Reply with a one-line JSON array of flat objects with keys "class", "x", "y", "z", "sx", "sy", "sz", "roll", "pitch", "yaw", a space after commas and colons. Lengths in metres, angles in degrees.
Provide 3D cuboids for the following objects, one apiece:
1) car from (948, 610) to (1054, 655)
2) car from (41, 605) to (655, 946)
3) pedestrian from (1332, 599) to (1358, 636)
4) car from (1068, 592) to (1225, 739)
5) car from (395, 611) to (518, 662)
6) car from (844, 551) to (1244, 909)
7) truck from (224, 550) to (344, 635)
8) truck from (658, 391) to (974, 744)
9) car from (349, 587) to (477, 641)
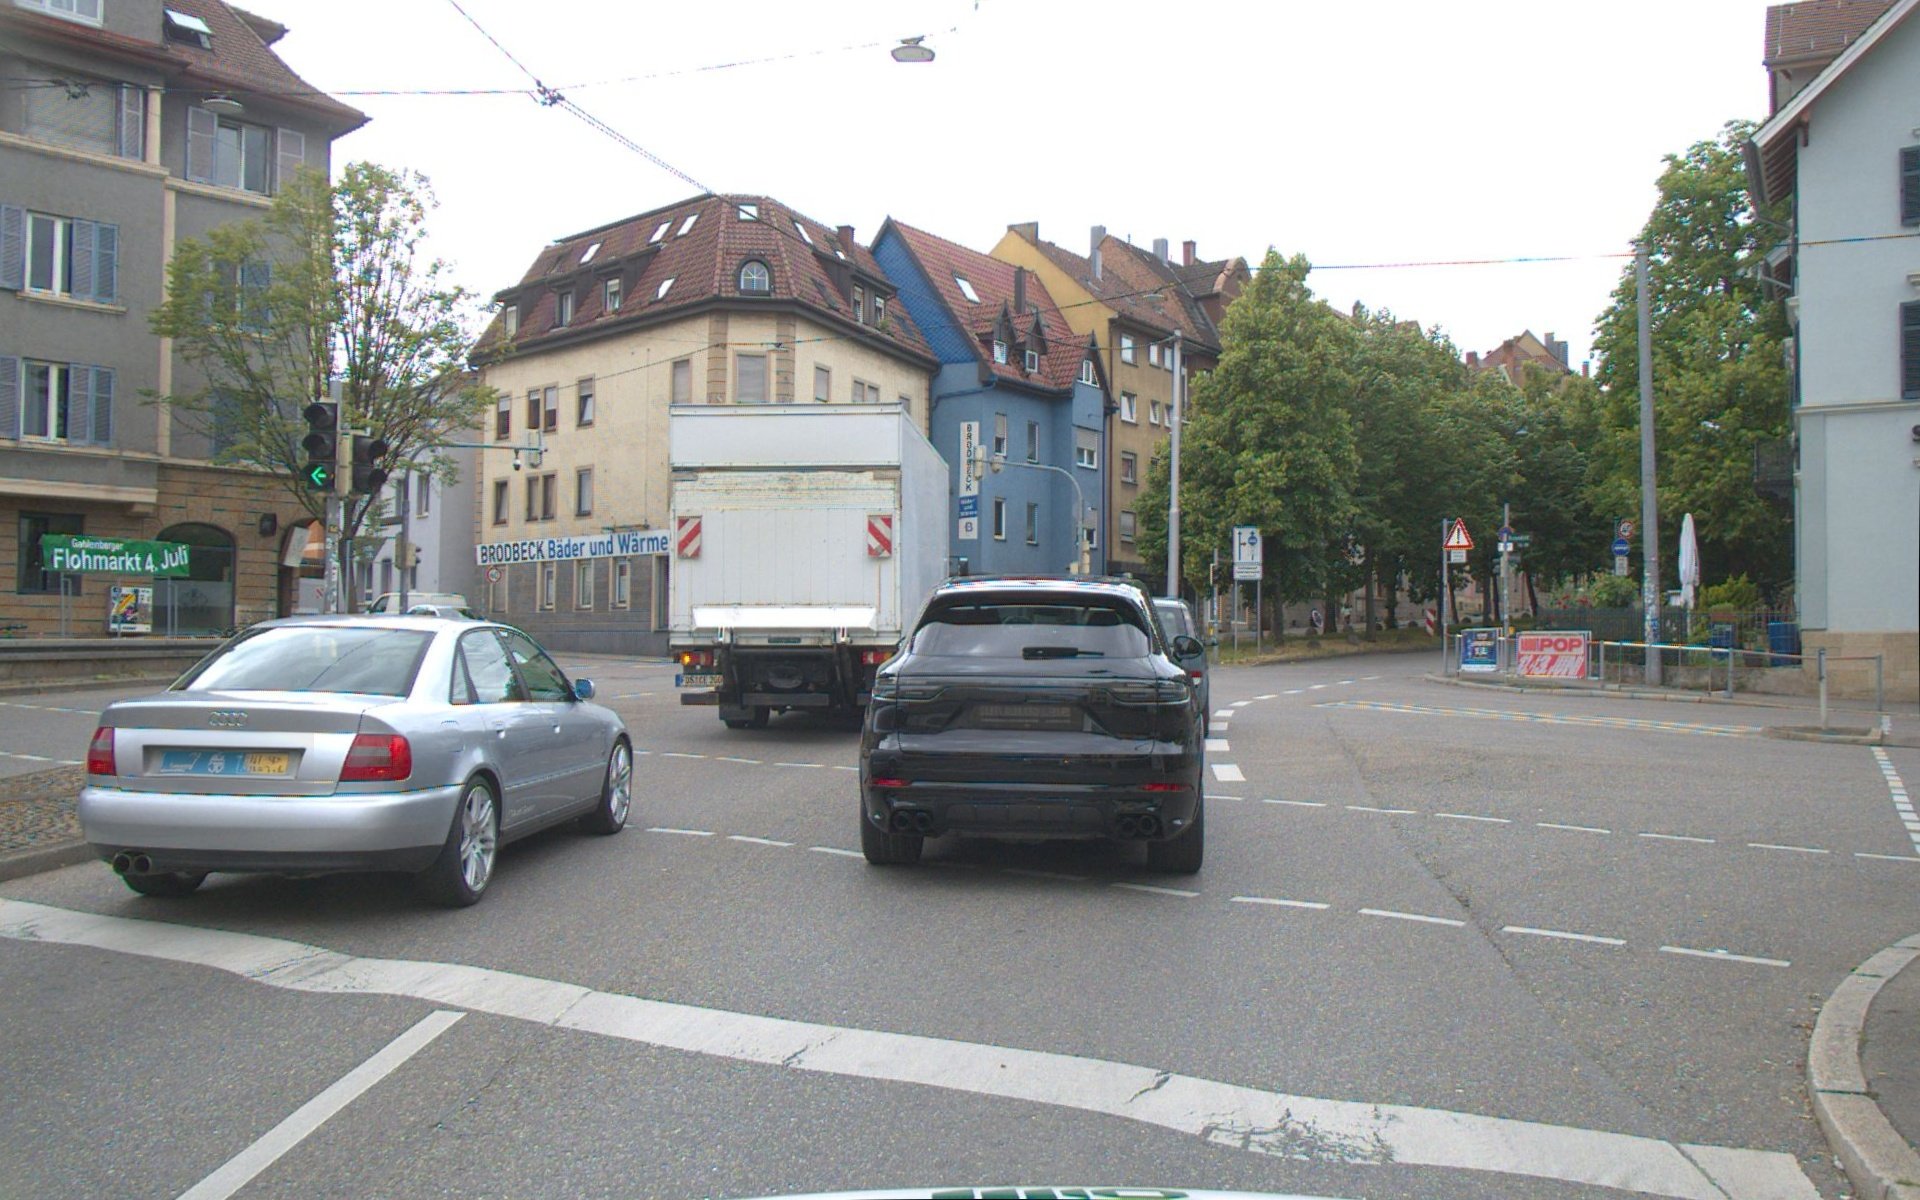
[{"class": "car", "x": 1.469, "y": 1.143, "z": 57.709, "sx": 1.687, "sy": 1.502, "sz": 4.204, "roll": -2, "pitch": -2, "yaw": 34}, {"class": "car", "x": -2.999, "y": 0.749, "z": 9.123, "sx": 1.594, "sy": 1.389, "sz": 4.130, "roll": 2, "pitch": 0, "yaw": 4}, {"class": "pedestrian", "x": 21.618, "y": 0.993, "z": 92.903, "sx": 1.171, "sy": 2.049, "sz": 0.986, "roll": 1, "pitch": 0, "yaw": 32}, {"class": "car", "x": 2.357, "y": 0.761, "z": 20.214, "sx": 1.613, "sy": 1.583, "sz": 3.585, "roll": 2, "pitch": -1, "yaw": 10}, {"class": "car", "x": -15.417, "y": 1.110, "z": 50.554, "sx": 3.905, "sy": 1.495, "sz": 1.869, "roll": -1, "pitch": -2, "yaw": 42}, {"class": "car", "x": 0.578, "y": 0.643, "z": 10.728, "sx": 1.989, "sy": 1.753, "sz": 4.502, "roll": 2, "pitch": 1, "yaw": 4}, {"class": "truck", "x": -28.729, "y": -0.339, "z": 70.200, "sx": 5.345, "sy": 3.413, "sz": 2.682, "roll": 1, "pitch": -1, "yaw": 43}, {"class": "truck", "x": -1.480, "y": -0.323, "z": 21.501, "sx": 2.668, "sy": 3.606, "sz": 8.425, "roll": 2, "pitch": 0, "yaw": 4}, {"class": "car", "x": -19.324, "y": 0.469, "z": 58.372, "sx": 4.243, "sy": 1.831, "sz": 2.060, "roll": 0, "pitch": 0, "yaw": 32}]
